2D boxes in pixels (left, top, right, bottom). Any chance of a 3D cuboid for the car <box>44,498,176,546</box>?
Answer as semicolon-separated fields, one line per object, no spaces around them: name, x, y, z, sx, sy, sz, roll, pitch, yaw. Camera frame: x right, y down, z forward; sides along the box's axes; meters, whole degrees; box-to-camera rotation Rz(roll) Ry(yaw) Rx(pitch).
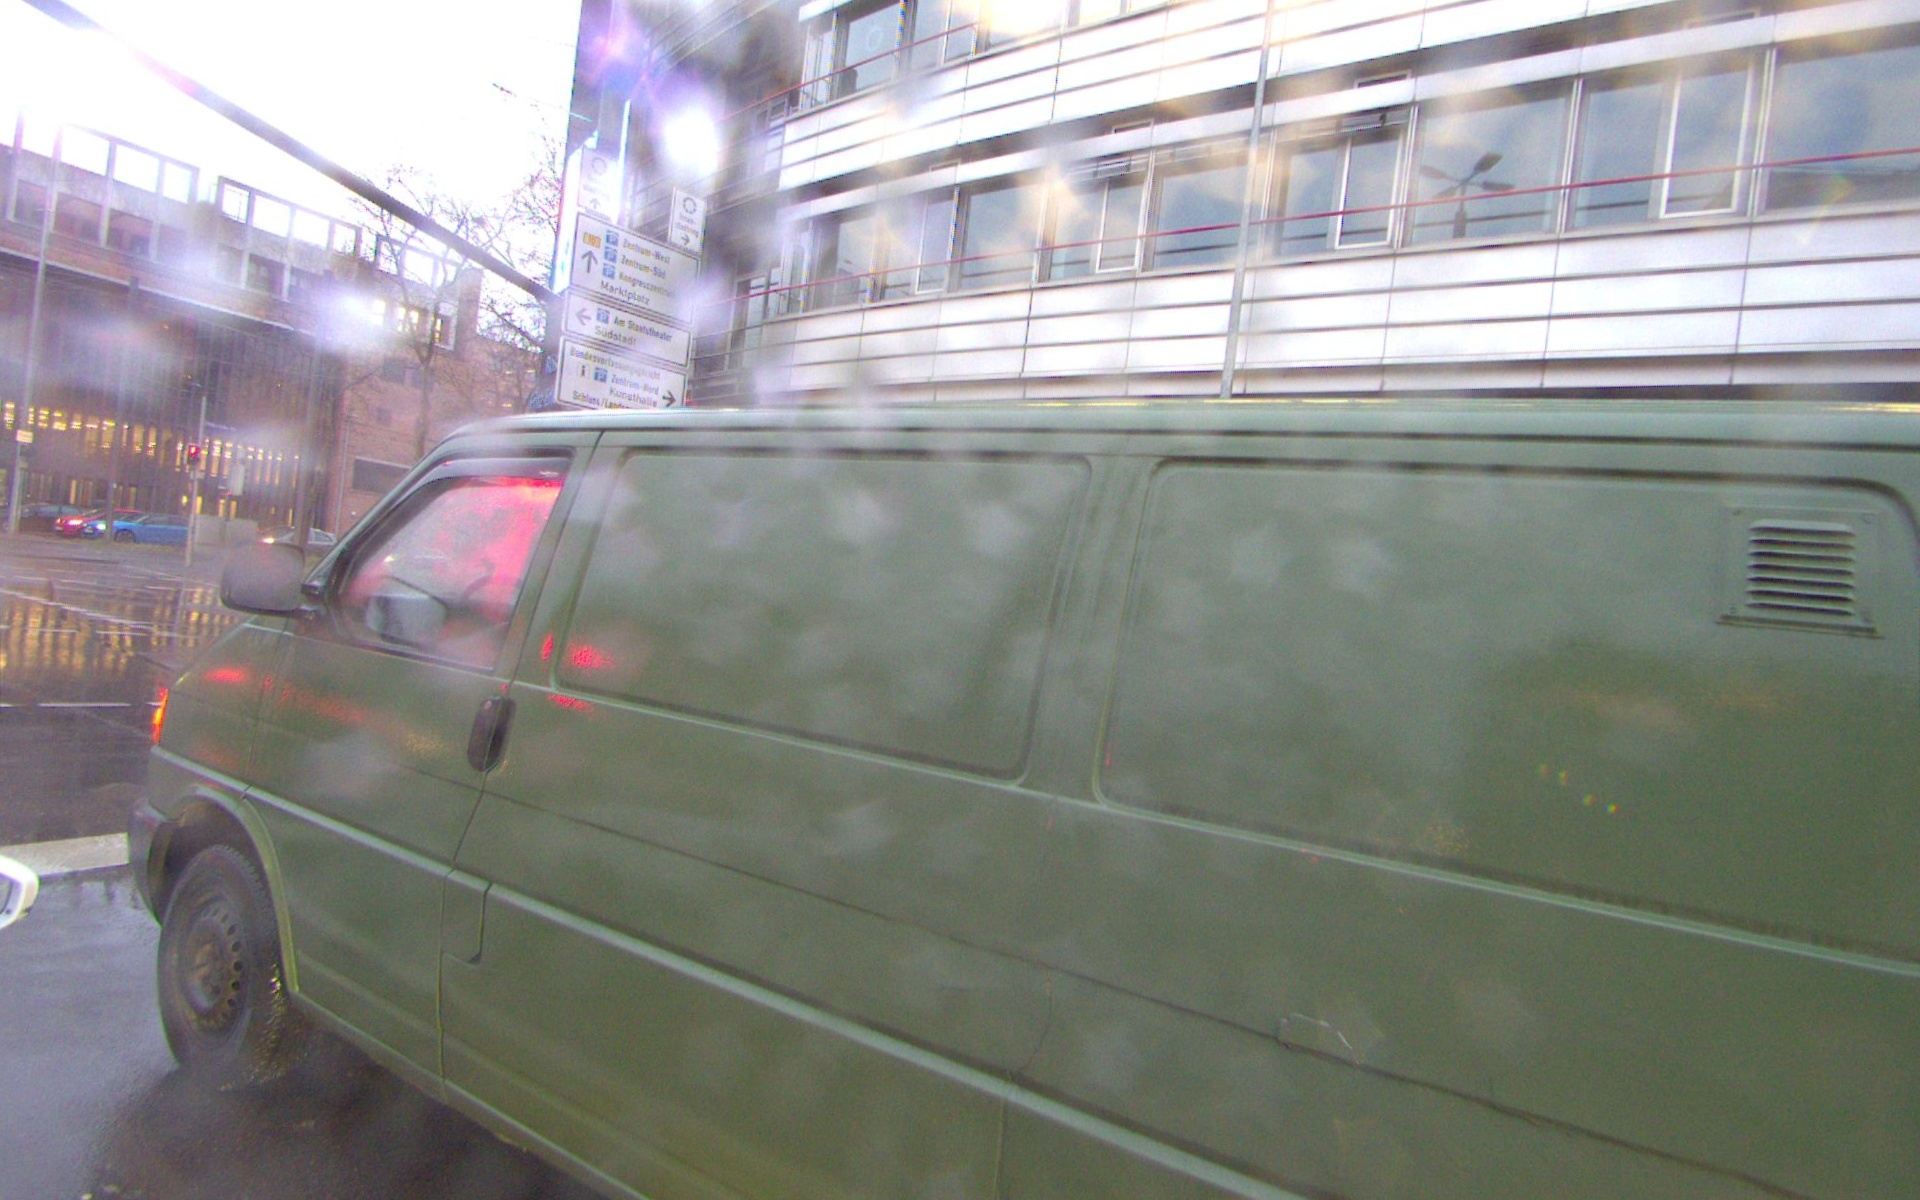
car;-35.482;-3.242;42.096;1.814;1.278;3.729;11;1;26

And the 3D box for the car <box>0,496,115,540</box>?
car;-39.210;-3.556;43.204;1.965;1.326;3.994;7;0;28

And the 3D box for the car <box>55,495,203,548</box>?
car;-32.439;-3.026;39.378;1.814;1.278;3.997;11;1;26

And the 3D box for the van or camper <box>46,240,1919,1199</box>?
van or camper;-0.330;0.534;2.621;4.345;1.929;1.760;7;-1;32

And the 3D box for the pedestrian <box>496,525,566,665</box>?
pedestrian;-7.036;-0.075;16.511;0.609;2.210;0.576;6;0;26

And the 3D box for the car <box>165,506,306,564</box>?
car;-28.303;-2.502;39.436;1.814;1.523;3.997;11;1;26

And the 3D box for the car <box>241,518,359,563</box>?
car;-29.635;-2.649;45.300;1.814;1.304;3.997;11;1;26

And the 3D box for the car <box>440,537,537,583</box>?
car;-23.563;-1.969;50.402;1.814;1.621;3.997;11;1;26

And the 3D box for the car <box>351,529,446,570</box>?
car;-30.168;-2.686;54.126;1.814;1.523;3.997;11;1;26
